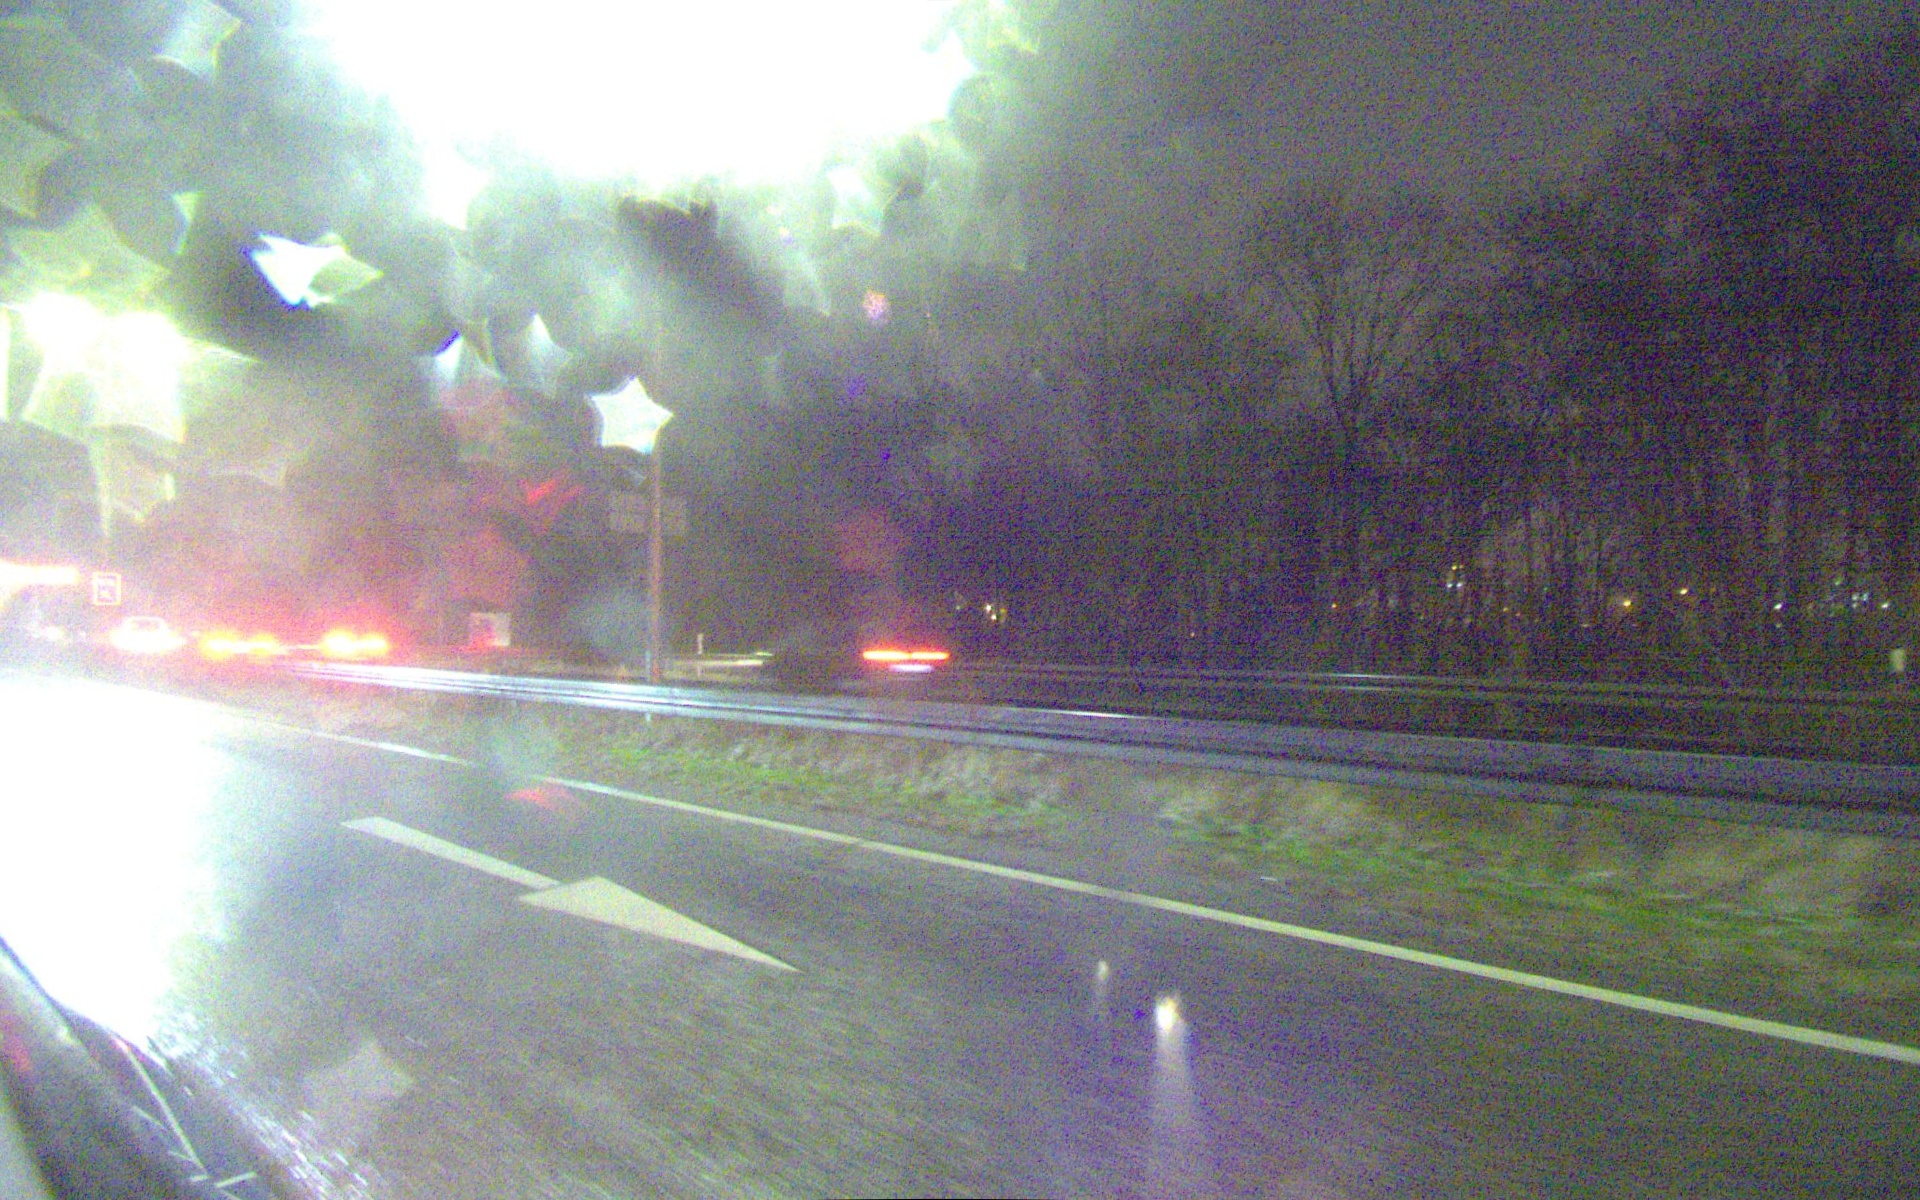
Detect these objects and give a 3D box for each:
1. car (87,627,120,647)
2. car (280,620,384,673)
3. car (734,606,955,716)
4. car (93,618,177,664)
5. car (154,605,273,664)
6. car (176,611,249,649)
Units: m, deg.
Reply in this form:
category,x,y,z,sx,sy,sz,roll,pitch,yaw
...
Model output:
category,x,y,z,sx,sy,sz,roll,pitch,yaw
car,-72.736,3.140,85.943,3.832,1.563,1.583,0,1,41
car,-24.261,1.718,39.025,4.701,1.787,1.974,0,1,40
car,-2.326,1.076,19.751,4.198,1.822,1.973,0,1,41
car,-36.695,1.766,44.968,4.701,1.787,1.974,0,1,40
car,-25.423,1.112,34.417,4.701,1.787,2.143,0,1,39
car,-39.567,1.544,53.527,4.701,1.787,1.974,0,1,40
